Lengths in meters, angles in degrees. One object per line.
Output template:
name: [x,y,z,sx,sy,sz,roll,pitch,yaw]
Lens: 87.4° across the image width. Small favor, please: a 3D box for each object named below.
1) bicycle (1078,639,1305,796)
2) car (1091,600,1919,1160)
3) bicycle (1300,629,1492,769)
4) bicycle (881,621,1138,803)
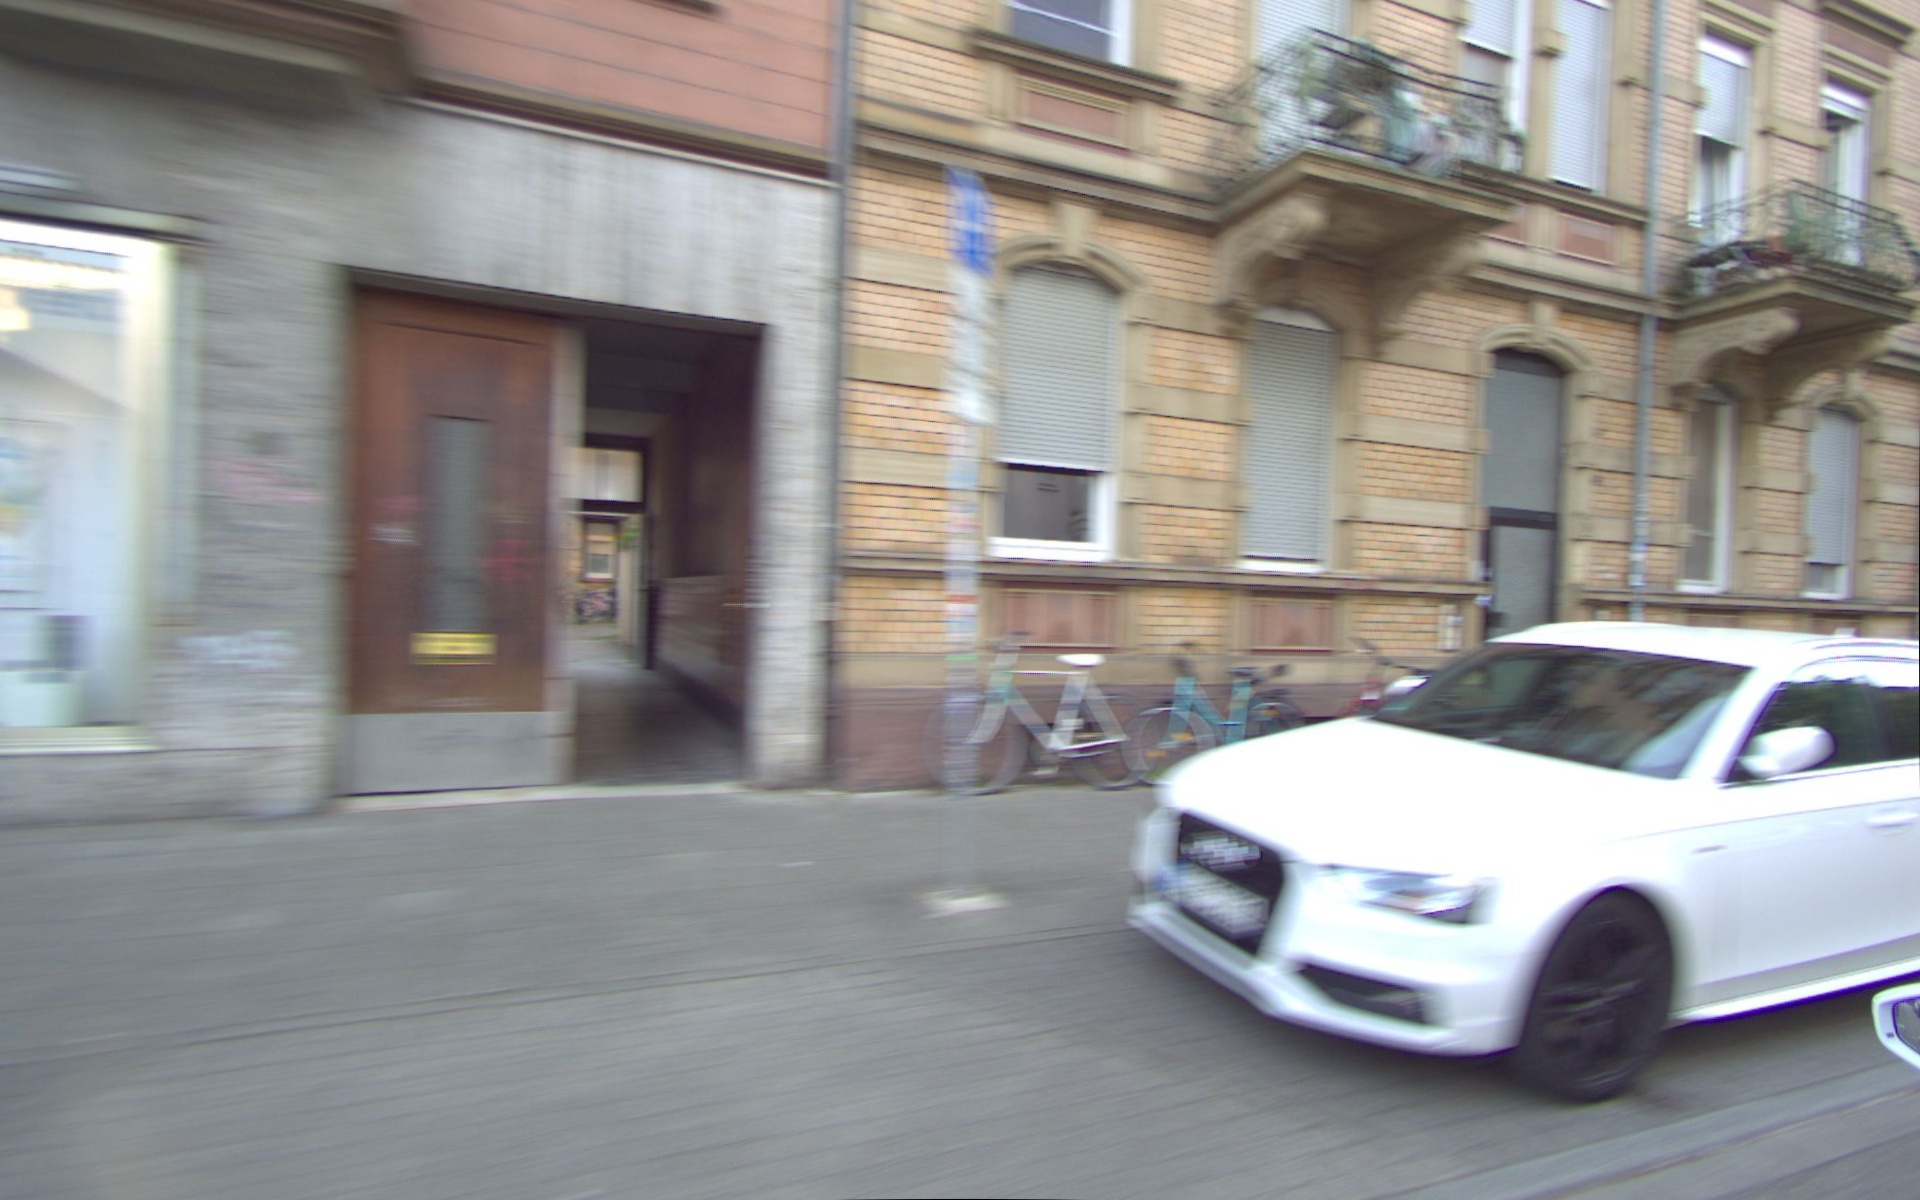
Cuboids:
bicycle: [1.728,0.840,7.483,1.601,1.050,0.564,1,1,-23]
car: [2.952,0.790,4.316,4.443,1.431,1.754,1,1,-22]
bicycle: [3.614,0.779,8.299,1.605,1.041,0.590,1,1,-30]
bicycle: [0.355,0.742,6.981,1.706,1.147,0.514,1,1,-23]
